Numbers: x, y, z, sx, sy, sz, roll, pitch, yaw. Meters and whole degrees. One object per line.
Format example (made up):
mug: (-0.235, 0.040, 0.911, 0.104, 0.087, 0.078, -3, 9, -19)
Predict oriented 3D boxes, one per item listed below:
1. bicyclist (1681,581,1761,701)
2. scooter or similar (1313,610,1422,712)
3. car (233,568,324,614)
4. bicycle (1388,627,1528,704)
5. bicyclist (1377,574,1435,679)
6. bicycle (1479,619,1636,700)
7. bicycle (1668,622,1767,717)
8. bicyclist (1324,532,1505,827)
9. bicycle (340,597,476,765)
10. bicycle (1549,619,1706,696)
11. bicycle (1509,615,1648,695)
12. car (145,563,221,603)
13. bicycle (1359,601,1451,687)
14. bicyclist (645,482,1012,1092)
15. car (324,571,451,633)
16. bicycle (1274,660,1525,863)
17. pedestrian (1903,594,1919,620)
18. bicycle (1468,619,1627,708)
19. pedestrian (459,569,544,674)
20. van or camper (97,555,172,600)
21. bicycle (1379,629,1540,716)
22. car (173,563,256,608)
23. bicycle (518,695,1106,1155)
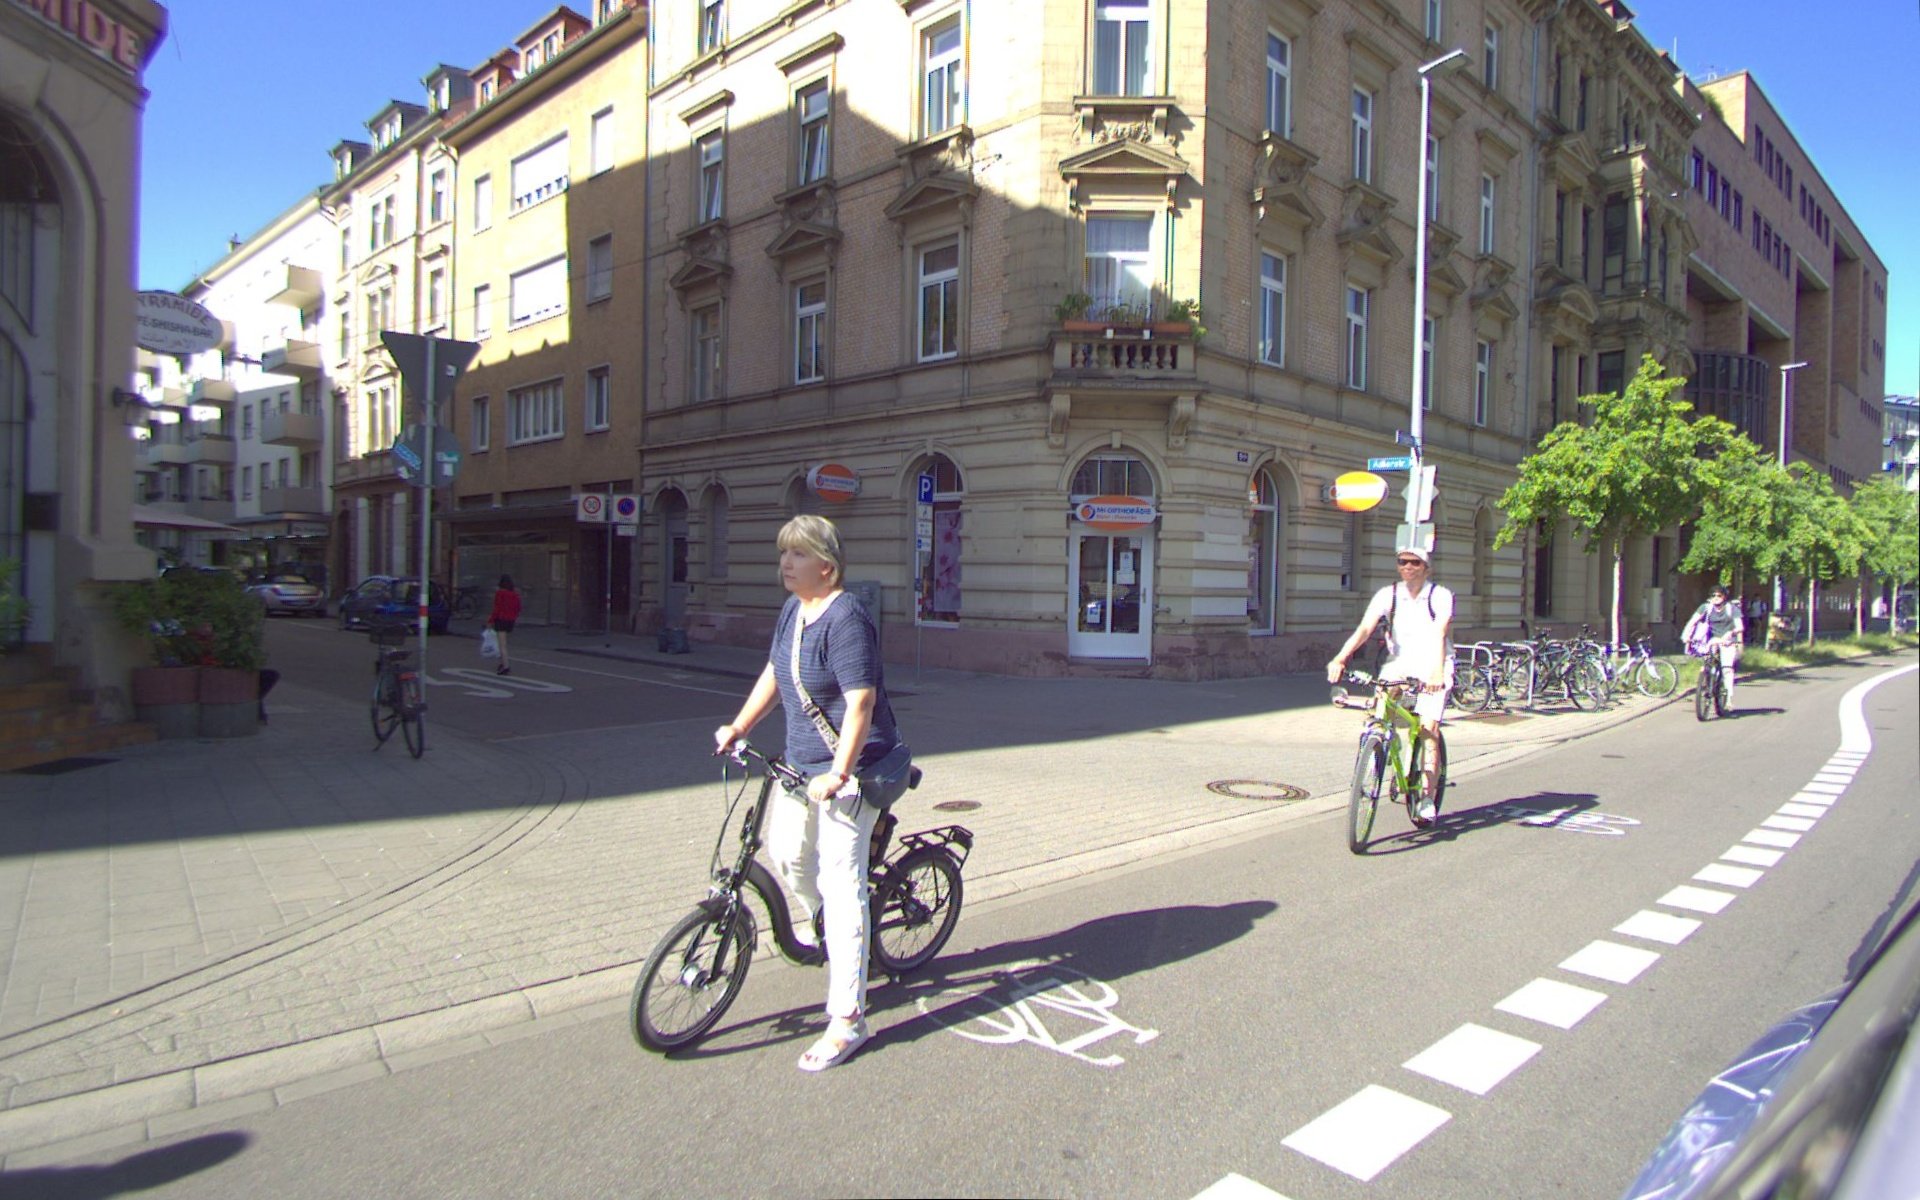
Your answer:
bicyclist: (10.681, 0.555, 14.207, 0.879, 1.625, 0.724, 1, -1, -41)
scooter or similar: (5.242, 0.755, 13.053, 0.479, 1.213, 1.197, 1, 1, -45)
car: (-21.126, -0.295, 31.325, 3.376, 1.338, 1.604, 1, 1, 42)
bicycle: (6.986, 0.895, 14.258, 0.488, 0.937, 1.716, 0, 1, -40)
bicyclist: (7.133, 0.402, 16.180, 0.781, 1.637, 0.578, 0, 1, -43)
bicycle: (9.452, 0.903, 16.049, 1.013, 1.043, 1.901, 0, 4, -43)
bicycle: (10.593, 0.923, 14.129, 1.918, 1.209, 0.724, 0, -1, -41)
bicyclist: (2.849, 0.450, 6.340, 0.960, 1.678, 0.699, 1, -1, -41)
bicycle: (-4.976, 0.656, 9.042, 0.801, 1.247, 2.221, 4, -1, -34)
bicycle: (11.504, 0.960, 17.500, 0.833, 1.054, 2.062, 0, 4, -41)
bicycle: (10.266, 0.877, 16.830, 1.115, 1.074, 1.677, 0, 5, -42)
car: (-30.014, -0.665, 39.065, 3.425, 1.424, 1.605, 3, 0, 41)
bicycle: (7.161, 0.671, 16.223, 2.062, 1.268, 0.578, -1, 2, -43)
bicyclist: (-0.461, 0.535, 3.550, 0.971, 1.749, 0.853, 1, -1, -41)
car: (-14.664, 0.016, 25.860, 3.686, 1.428, 1.594, 2, 1, 39)
bicycle: (2.862, 0.946, 6.497, 1.918, 1.019, 0.724, 0, 0, -41)
pedestrian: (74.545, 0.525, 79.128, 0.747, 2.039, 0.884, 1, 1, -19)
bicycle: (8.560, 0.896, 14.804, 0.598, 1.061, 1.873, 0, 4, -45)
pedestrian: (-7.229, 0.325, 15.979, 0.824, 1.594, 0.901, 0, 0, 22)
van or camper: (-37.779, -1.055, 46.283, 4.527, 1.867, 1.857, 3, 0, 41)
bicycle: (6.682, 0.942, 13.655, 0.580, 0.922, 1.910, 0, 3, -32)
car: (-26.256, -0.523, 35.623, 3.425, 1.424, 1.605, 3, 0, 41)
bicycle: (-0.430, 0.931, 3.575, 1.918, 1.019, 0.829, 0, 0, -41)
